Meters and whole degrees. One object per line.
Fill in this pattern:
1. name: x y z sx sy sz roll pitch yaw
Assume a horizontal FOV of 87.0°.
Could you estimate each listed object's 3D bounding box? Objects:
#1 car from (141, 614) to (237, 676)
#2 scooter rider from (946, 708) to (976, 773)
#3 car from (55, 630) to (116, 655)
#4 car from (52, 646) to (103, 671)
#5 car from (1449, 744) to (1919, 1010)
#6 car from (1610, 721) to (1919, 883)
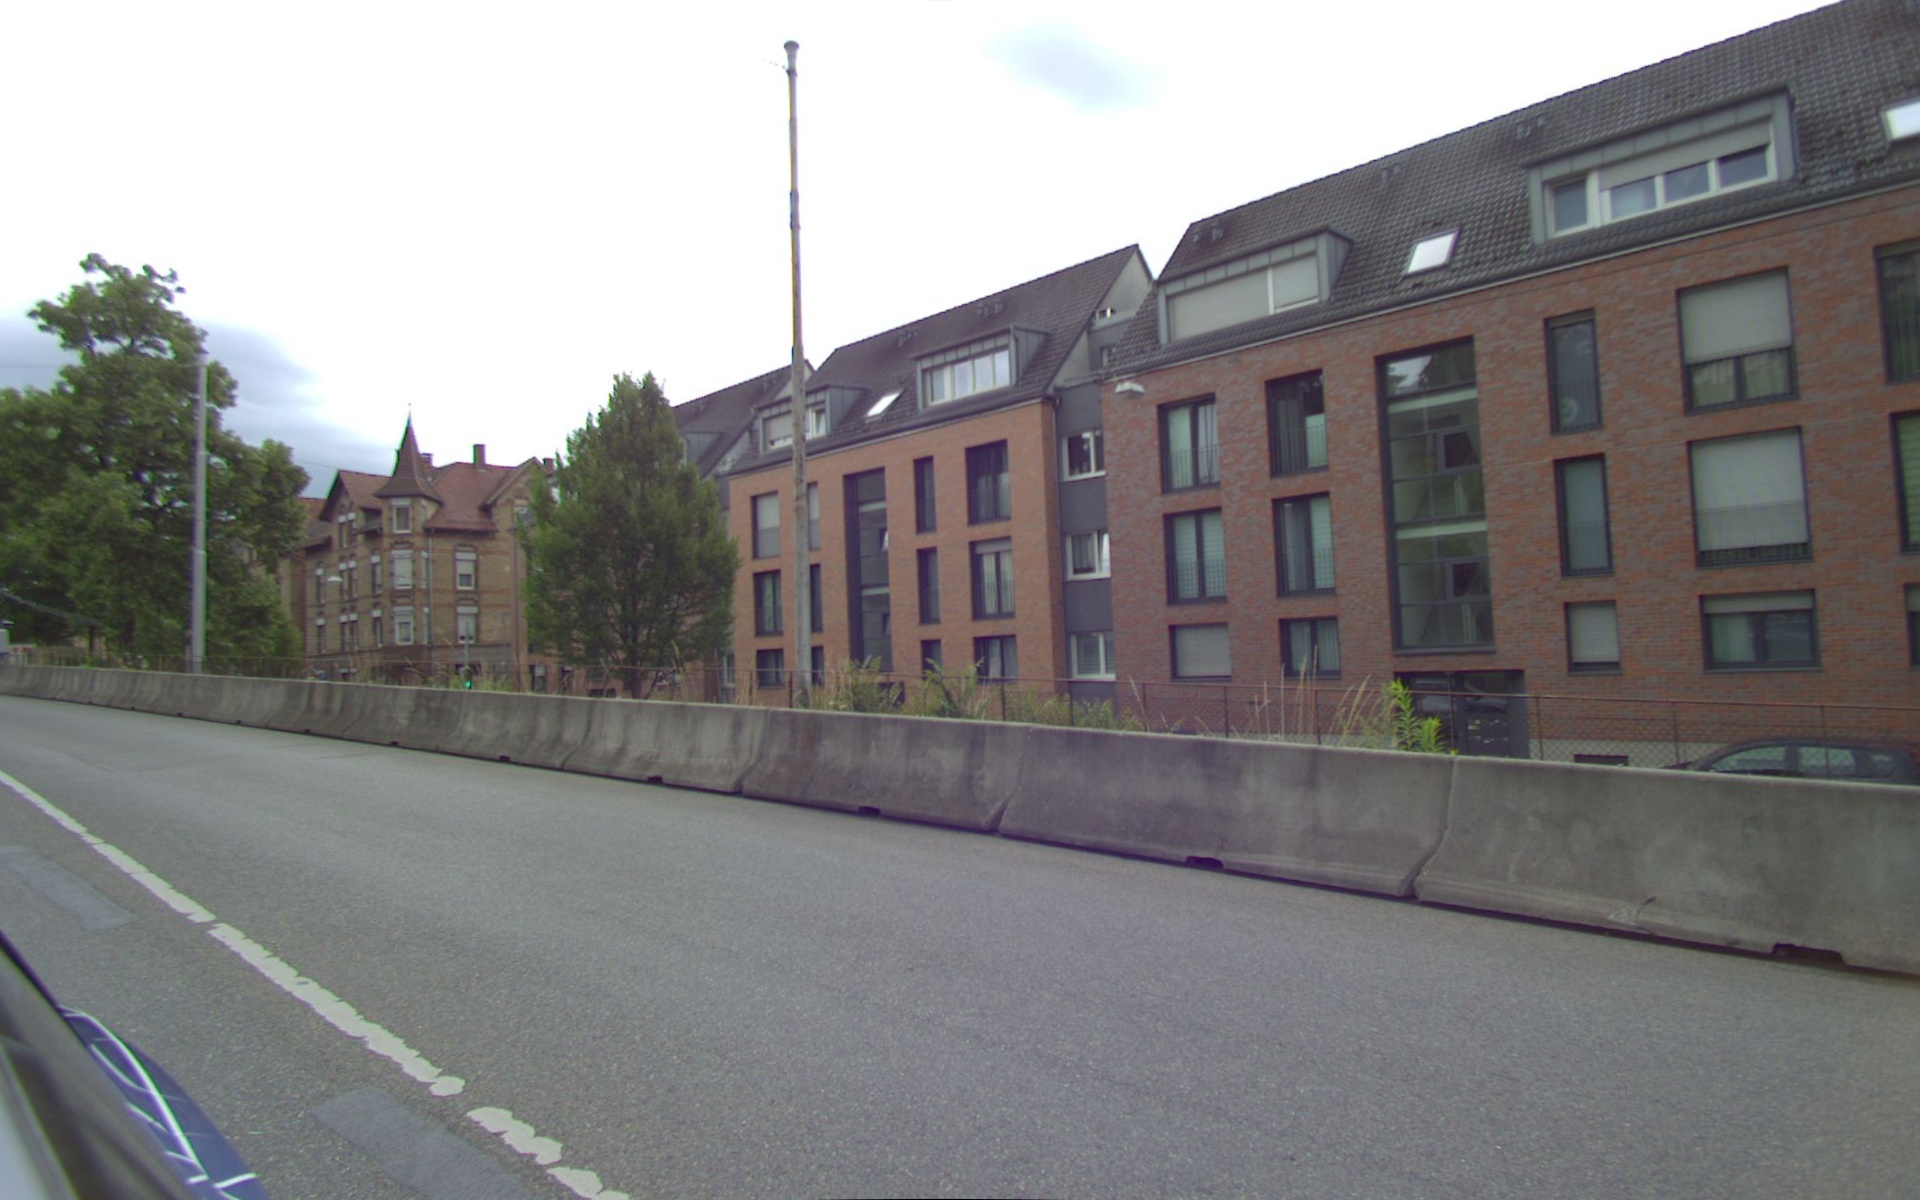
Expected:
1. car: -35.268 1.956 46.236 5.735 2.601 2.531 -1 0 43
2. scooter rider: 0.030 3.882 28.056 0.577 1.718 0.482 -6 -5 41
3. car: -49.872 2.444 57.707 3.996 1.364 1.973 -2 -4 40
4. car: -58.471 3.858 67.042 3.996 1.564 1.973 -2 -2 40
5. car: 6.393 2.147 8.346 3.995 1.525 1.519 -2 -2 39
6. car: 12.010 2.865 14.981 3.764 1.815 1.696 -3 -1 41
